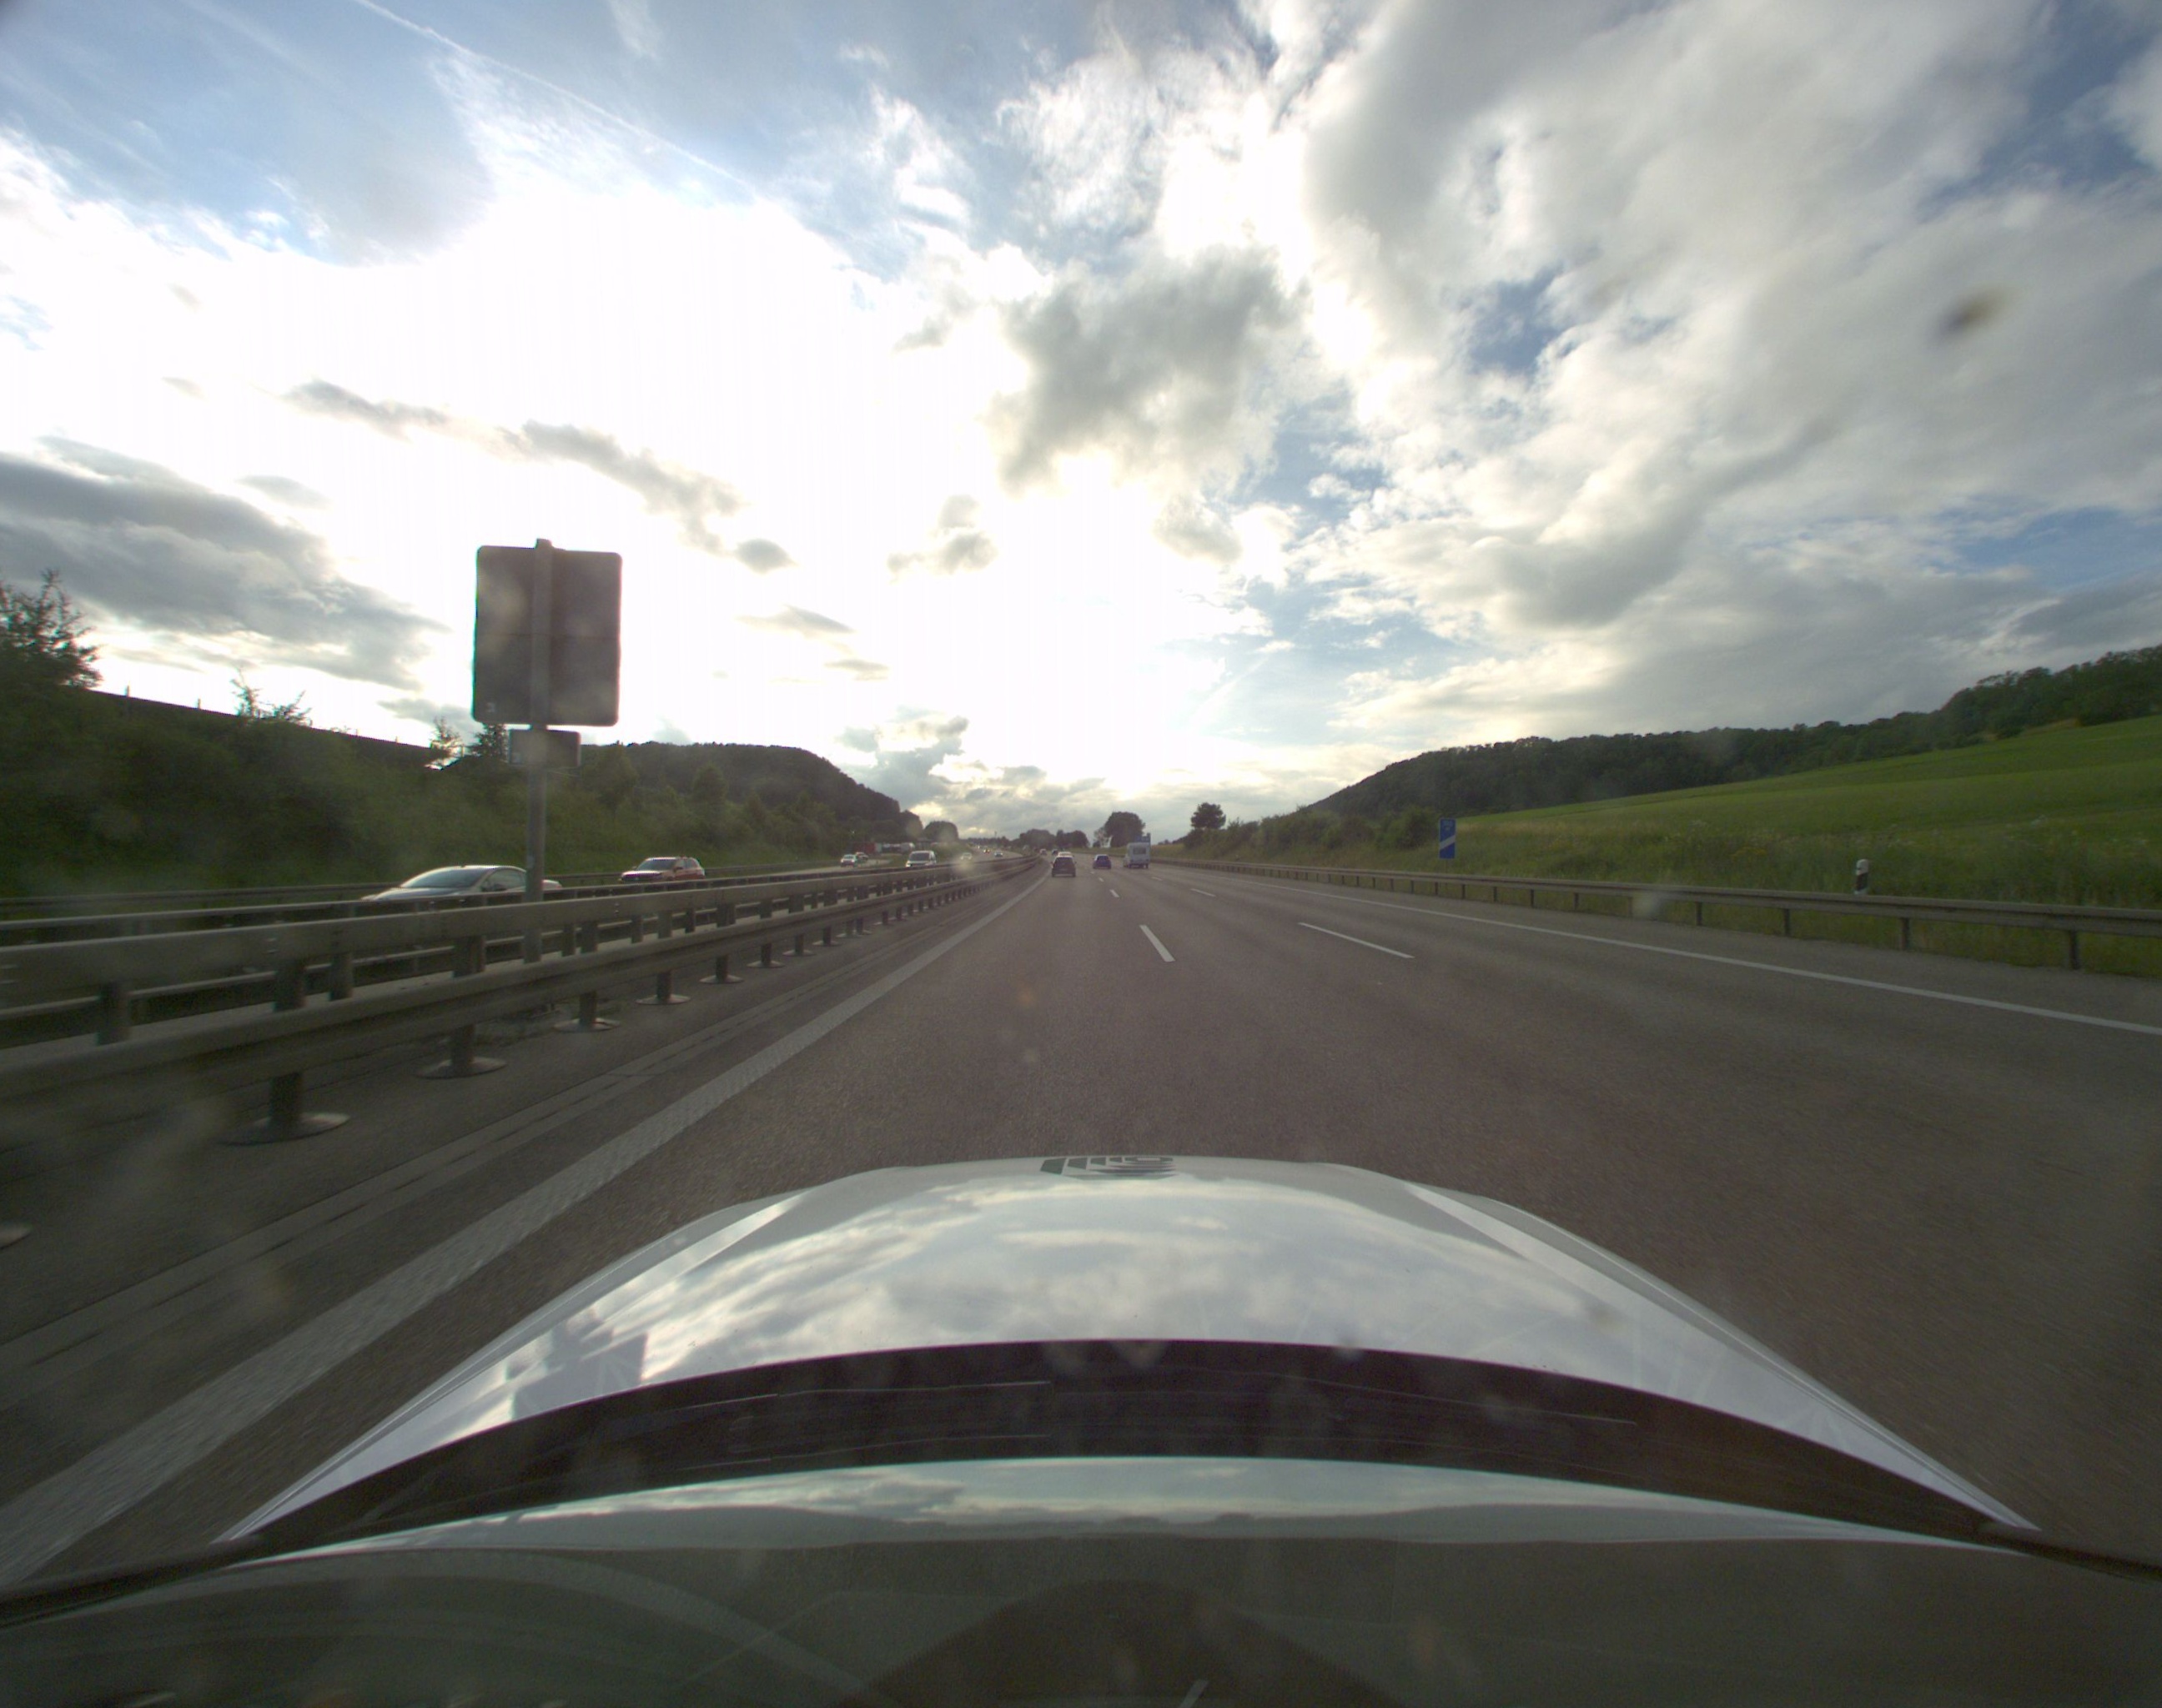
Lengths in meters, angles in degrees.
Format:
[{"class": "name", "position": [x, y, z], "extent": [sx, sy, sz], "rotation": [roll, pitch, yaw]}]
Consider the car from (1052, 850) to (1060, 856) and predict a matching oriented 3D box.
[{"class": "car", "position": [-6.864, -0.244, 225.015], "extent": [1.949, 1.574, 4.004], "rotation": [0, -1, 4]}]

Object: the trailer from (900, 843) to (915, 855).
[{"class": "trailer", "position": [-46.263, -1.261, 217.404], "extent": [2.576, 2.853, 12.233], "rotation": [0, -1, -7]}]

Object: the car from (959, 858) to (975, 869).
[{"class": "car", "position": [-19.002, 1.543, 135.741], "extent": [1.986, 1.486, 4.001], "rotation": [-3, -4, 2]}]

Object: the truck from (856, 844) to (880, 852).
[{"class": "truck", "position": [-62.045, -1.713, 236.770], "extent": [7.214, 2.226, 2.919], "rotation": [0, 2, 37]}]

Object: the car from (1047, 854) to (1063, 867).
[{"class": "car", "position": [-3.018, 0.764, 92.425], "extent": [1.563, 1.380, 3.992], "rotation": [-2, 0, -5]}]

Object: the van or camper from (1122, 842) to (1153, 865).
[{"class": "van or camper", "position": [5.756, -0.061, 83.109], "extent": [2.542, 2.239, 5.323], "rotation": [-1, -1, -3]}]

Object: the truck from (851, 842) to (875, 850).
[{"class": "truck", "position": [-61.988, -2.202, 231.502], "extent": [7.213, 2.013, 2.919], "rotation": [-3, 0, 37]}]

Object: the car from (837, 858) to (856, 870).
[{"class": "car", "position": [-30.390, 1.272, 105.616], "extent": [1.758, 1.358, 4.370], "rotation": [-2, 0, -8]}]

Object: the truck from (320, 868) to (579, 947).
[{"class": "truck", "position": [-12.122, 0.951, 16.041], "extent": [1.988, 1.222, 3.998], "rotation": [-2, 0, -1]}]

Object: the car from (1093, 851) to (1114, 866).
[{"class": "car", "position": [2.227, 0.430, 82.568], "extent": [1.763, 1.433, 3.995], "rotation": [-2, 0, -4]}]

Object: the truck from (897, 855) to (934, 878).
[{"class": "truck", "position": [-12.687, 0.928, 62.572], "extent": [1.989, 1.594, 4.842], "rotation": [-2, 0, -3]}]

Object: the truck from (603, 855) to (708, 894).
[{"class": "truck", "position": [-16.480, 0.764, 31.761], "extent": [1.987, 1.353, 3.945], "rotation": [-2, 0, 0]}]

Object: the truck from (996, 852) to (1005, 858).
[{"class": "truck", "position": [-19.349, 0.318, 195.618], "extent": [1.990, 1.365, 4.639], "rotation": [-1, 0, -4]}]

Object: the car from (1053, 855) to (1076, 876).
[{"class": "car", "position": [-1.136, 0.791, 56.863], "extent": [1.533, 1.348, 3.675], "rotation": [-1, -1, -1]}]

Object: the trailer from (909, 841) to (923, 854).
[{"class": "trailer", "position": [-48.965, -1.778, 241.595], "extent": [2.875, 3.696, 13.640], "rotation": [-2, 0, -7]}]
